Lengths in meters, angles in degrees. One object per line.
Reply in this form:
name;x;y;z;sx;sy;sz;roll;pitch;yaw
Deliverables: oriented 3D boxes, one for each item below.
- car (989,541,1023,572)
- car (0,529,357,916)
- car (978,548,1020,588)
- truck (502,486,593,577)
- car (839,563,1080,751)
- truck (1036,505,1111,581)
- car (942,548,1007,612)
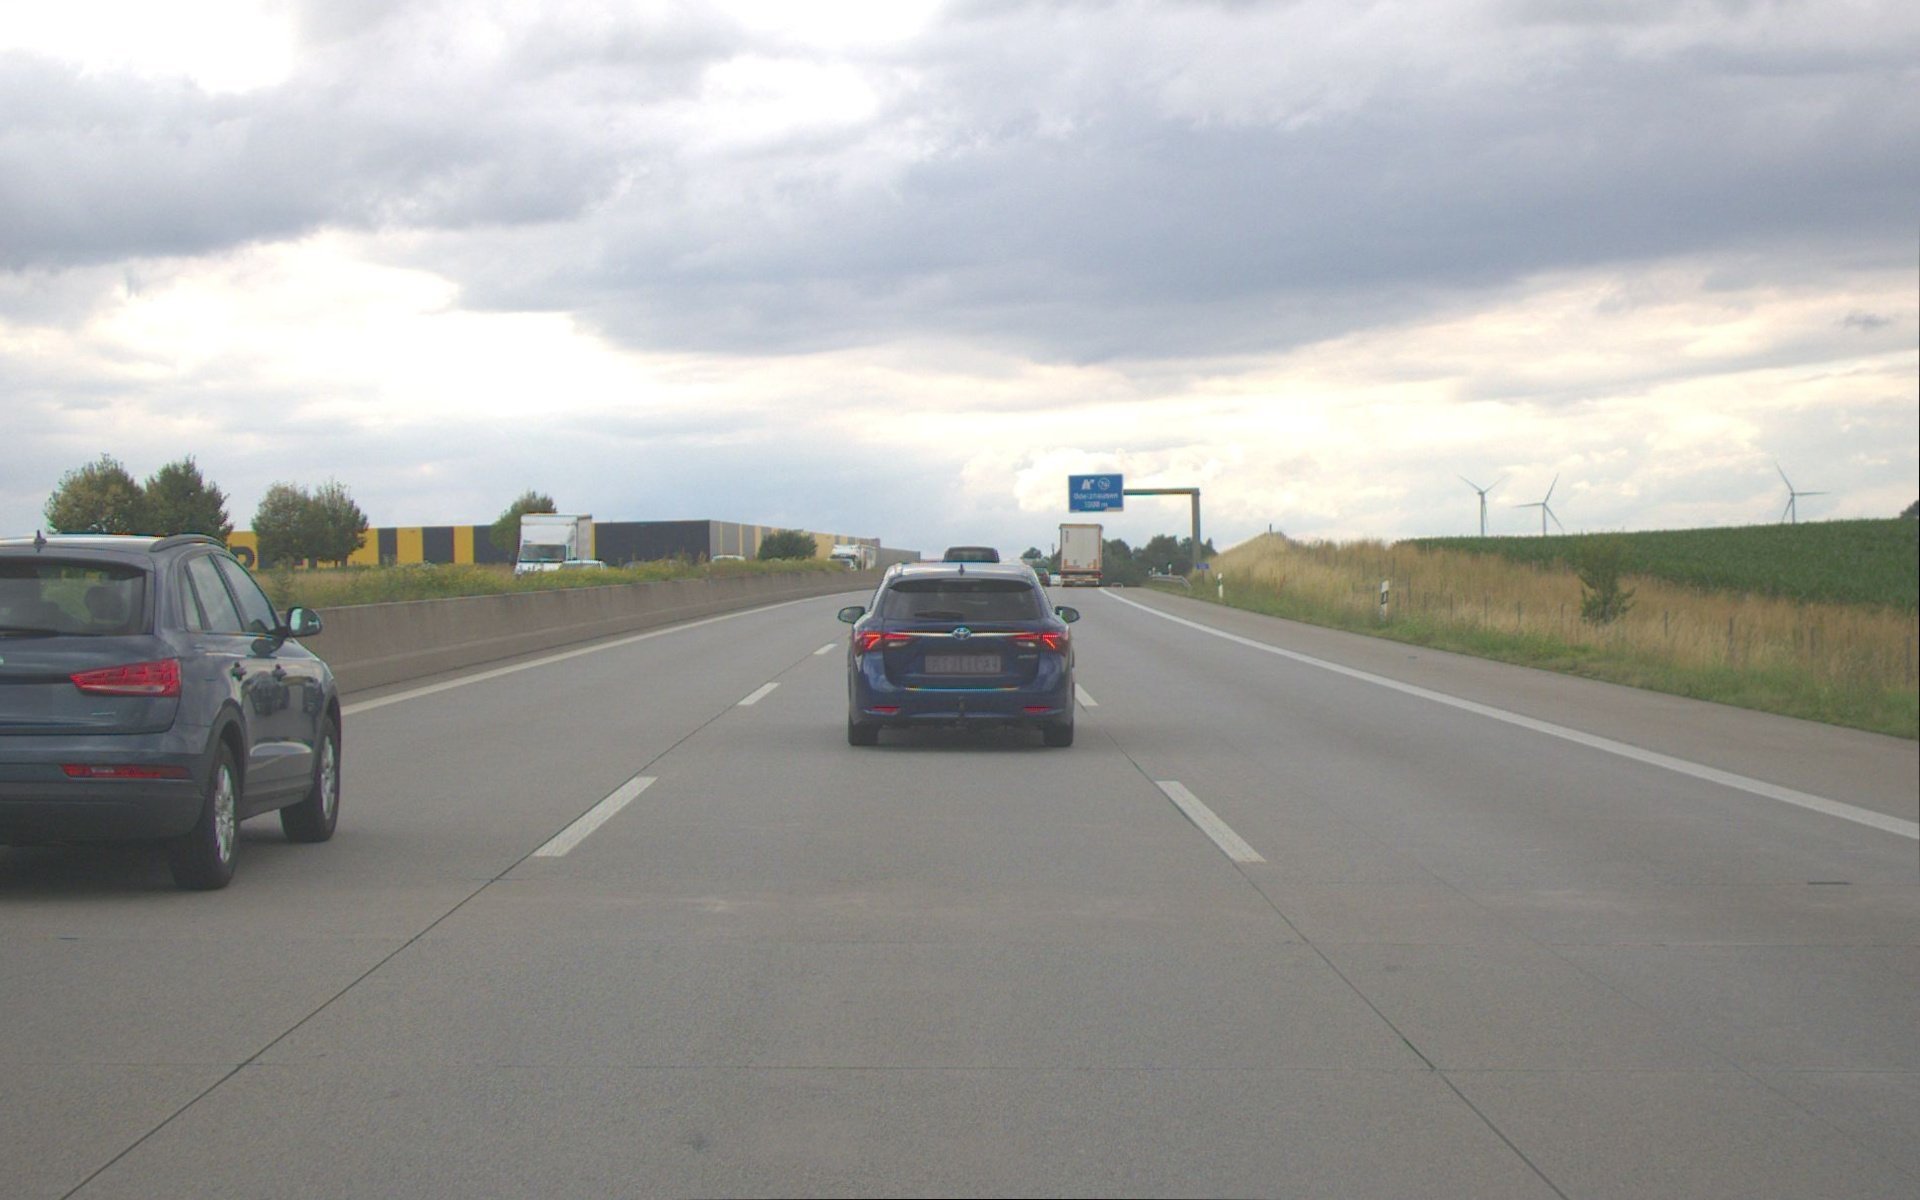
car;3.006;-2.844;225.984;1.993;2.007;4.000;1;0;-2
car;-4.118;0.464;16.755;1.792;1.590;5.158;1;1;-4
car;1.990;-1.659;177.174;1.993;2.007;4.000;2;1;-1
truck;-15.828;-2.578;132.339;2.357;3.316;7.296;1;0;2
car;-0.073;0.413;27.922;1.774;1.408;4.000;0;0;-2
truck;7.326;-3.652;223.842;3.950;4.740;12.077;1;0;-2
car;0.459;-0.637;111.881;1.993;2.007;4.000;1;0;-1
